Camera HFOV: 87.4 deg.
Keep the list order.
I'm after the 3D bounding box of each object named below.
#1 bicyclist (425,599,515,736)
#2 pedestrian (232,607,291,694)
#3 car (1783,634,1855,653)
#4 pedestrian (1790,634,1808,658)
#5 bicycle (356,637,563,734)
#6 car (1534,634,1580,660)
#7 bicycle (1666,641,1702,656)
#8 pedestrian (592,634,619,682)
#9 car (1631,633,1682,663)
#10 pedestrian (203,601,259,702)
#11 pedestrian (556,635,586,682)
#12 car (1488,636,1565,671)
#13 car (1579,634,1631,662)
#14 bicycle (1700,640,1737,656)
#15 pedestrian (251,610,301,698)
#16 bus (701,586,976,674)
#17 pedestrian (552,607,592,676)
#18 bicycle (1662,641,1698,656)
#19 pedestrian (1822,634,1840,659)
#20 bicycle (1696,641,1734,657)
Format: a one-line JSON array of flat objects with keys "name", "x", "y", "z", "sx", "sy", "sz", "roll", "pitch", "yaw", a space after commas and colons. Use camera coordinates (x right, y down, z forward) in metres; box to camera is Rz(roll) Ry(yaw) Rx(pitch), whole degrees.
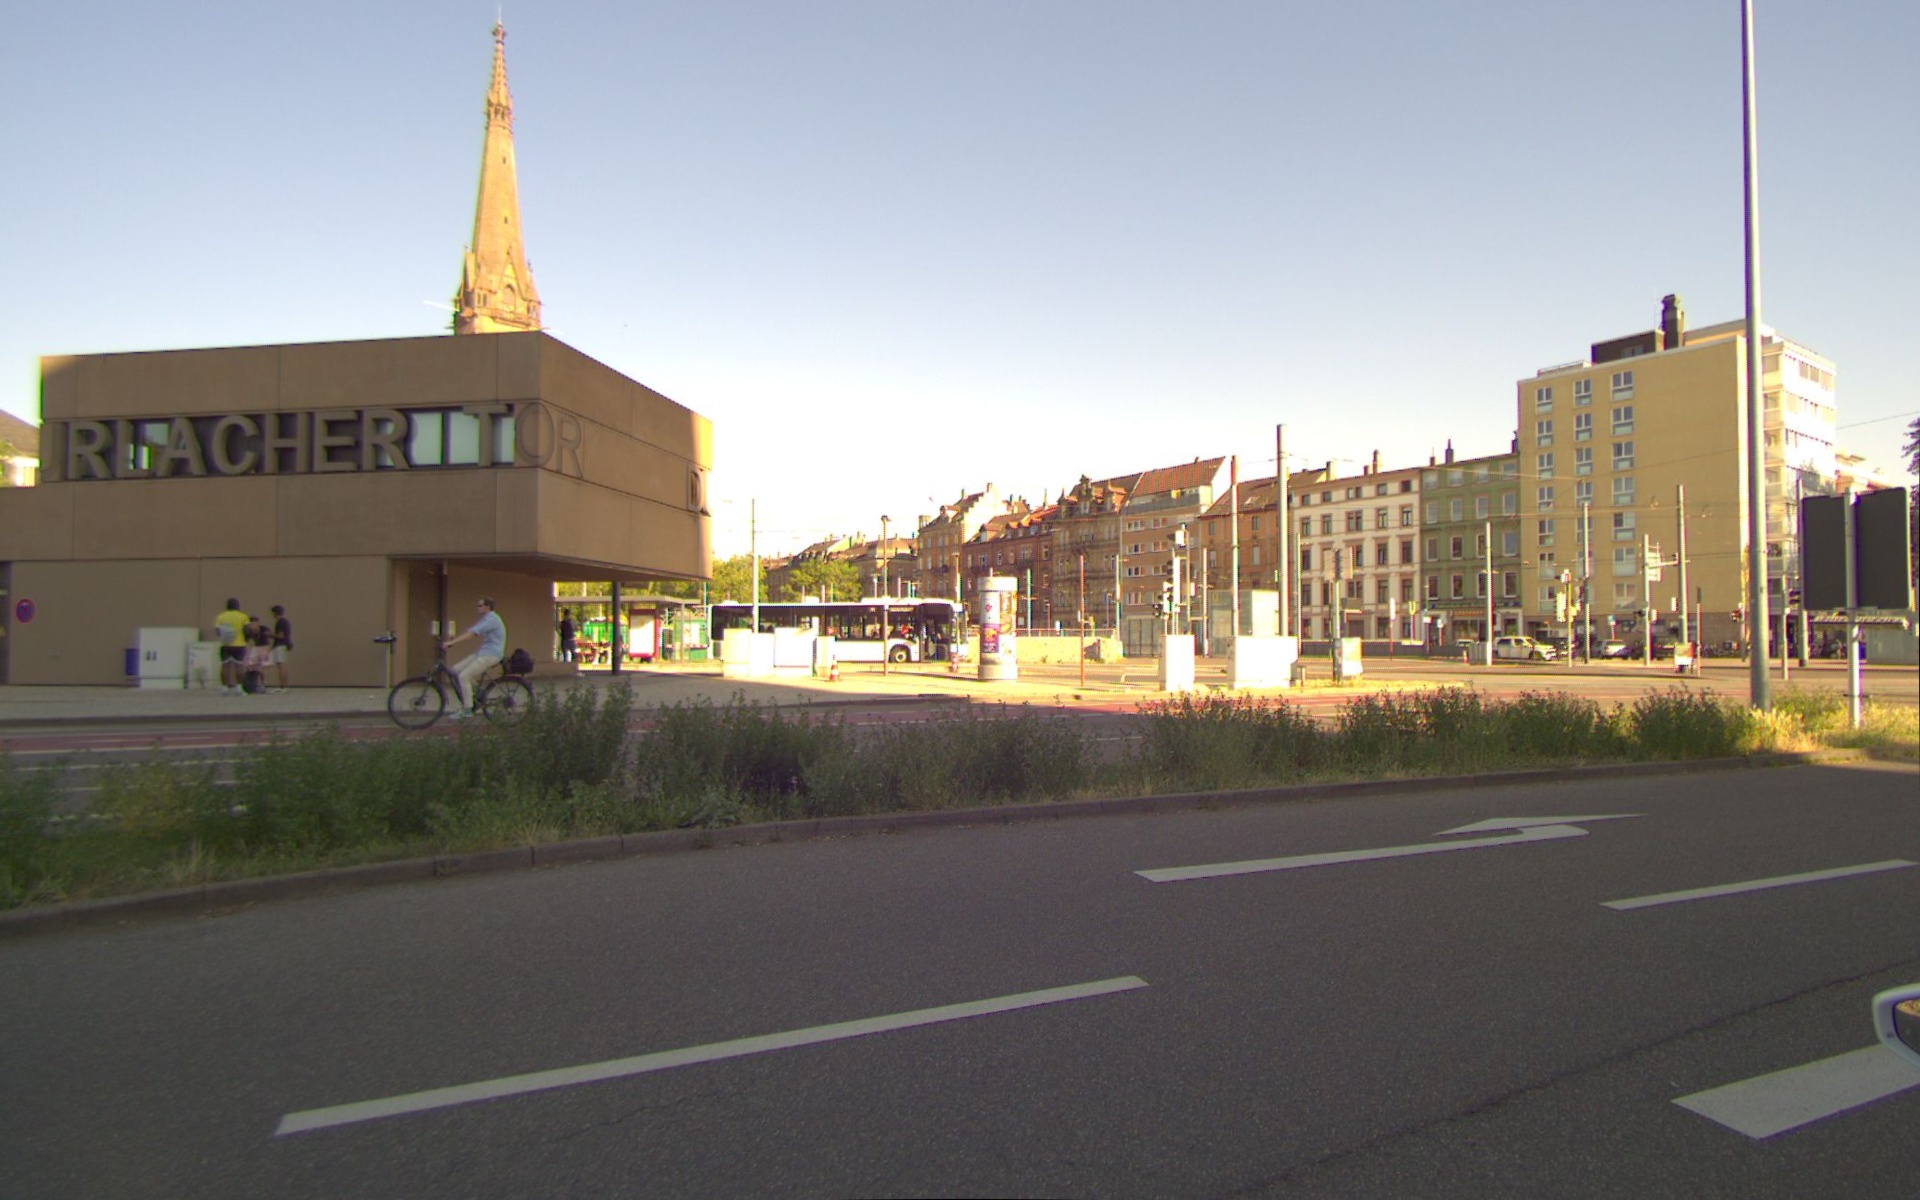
[{"name": "bicyclist", "x": -6.968, "y": 0.944, "z": 14.278, "sx": 1.004, "sy": 1.856, "sz": 0.735, "roll": 2, "pitch": -2, "yaw": -35}, {"name": "pedestrian", "x": -14.388, "y": 1.028, "z": 20.695, "sx": 0.651, "sy": 1.754, "sz": 0.737, "roll": -1, "pitch": 0, "yaw": 8}, {"name": "car", "x": 66.479, "y": 3.377, "z": 77.772, "sx": 1.797, "sy": 1.440, "sz": 3.957, "roll": 2, "pitch": -3, "yaw": -38}, {"name": "pedestrian", "x": 59.166, "y": 3.235, "z": 70.813, "sx": 0.774, "sy": 1.698, "sz": 0.771, "roll": 1, "pitch": -2, "yaw": -33}, {"name": "bicycle", "x": -7.046, "y": 1.180, "z": 14.241, "sx": 2.531, "sy": 1.271, "sz": 0.735, "roll": 2, "pitch": -2, "yaw": -36}, {"name": "car", "x": 43.672, "y": 3.431, "z": 73.607, "sx": 1.802, "sy": 1.742, "sz": 4.002, "roll": -1, "pitch": -1, "yaw": 14}, {"name": "bicycle", "x": 53.802, "y": 3.568, "z": 74.706, "sx": 0.769, "sy": 1.104, "sz": 2.029, "roll": 1, "pitch": -3, "yaw": -35}, {"name": "pedestrian", "x": -15.131, "y": 2.468, "z": 42.909, "sx": 0.704, "sy": 2.007, "sz": 0.982, "roll": -1, "pitch": -3, "yaw": 11}, {"name": "car", "x": 47.472, "y": 3.263, "z": 68.553, "sx": 1.816, "sy": 1.882, "sz": 4.000, "roll": -1, "pitch": -1, "yaw": 20}, {"name": "pedestrian", "x": -13.894, "y": 0.965, "z": 19.165, "sx": 0.629, "sy": 1.860, "sz": 0.716, "roll": -1, "pitch": 0, "yaw": -16}, {"name": "pedestrian", "x": -16.812, "y": 2.508, "z": 43.408, "sx": 0.812, "sy": 2.007, "sz": 0.997, "roll": -1, "pitch": -3, "yaw": 11}, {"name": "car", "x": 35.446, "y": 3.317, "z": 62.949, "sx": 1.980, "sy": 2.040, "sz": 3.710, "roll": -1, "pitch": -1, "yaw": -35}, {"name": "car", "x": 45.484, "y": 3.345, "z": 70.946, "sx": 1.802, "sy": 1.771, "sz": 4.002, "roll": -1, "pitch": -1, "yaw": 12}, {"name": "bicycle", "x": 55.046, "y": 3.490, "z": 72.887, "sx": 0.769, "sy": 1.104, "sz": 2.029, "roll": 1, "pitch": -3, "yaw": -35}, {"name": "pedestrian", "x": -13.596, "y": 1.057, "z": 19.969, "sx": 0.539, "sy": 1.711, "sz": 0.639, "roll": -1, "pitch": 0, "yaw": -4}, {"name": "bus", "x": -5.474, "y": 1.406, "z": 46.096, "sx": 11.940, "sy": 3.359, "sz": 3.254, "roll": 2, "pitch": -5, "yaw": 10}, {"name": "pedestrian", "x": -11.444, "y": 1.229, "z": 29.660, "sx": 0.704, "sy": 2.007, "sz": 0.982, "roll": -1, "pitch": -2, "yaw": 9}, {"name": "bicycle", "x": 53.152, "y": 3.547, "z": 74.129, "sx": 0.769, "sy": 1.104, "sz": 2.029, "roll": 1, "pitch": -3, "yaw": -35}, {"name": "pedestrian", "x": 60.072, "y": 3.183, "z": 69.279, "sx": 0.774, "sy": 1.698, "sz": 0.771, "roll": 1, "pitch": -2, "yaw": -33}, {"name": "bicycle", "x": 54.394, "y": 3.498, "z": 72.352, "sx": 0.769, "sy": 1.104, "sz": 2.029, "roll": 1, "pitch": -3, "yaw": -35}]
